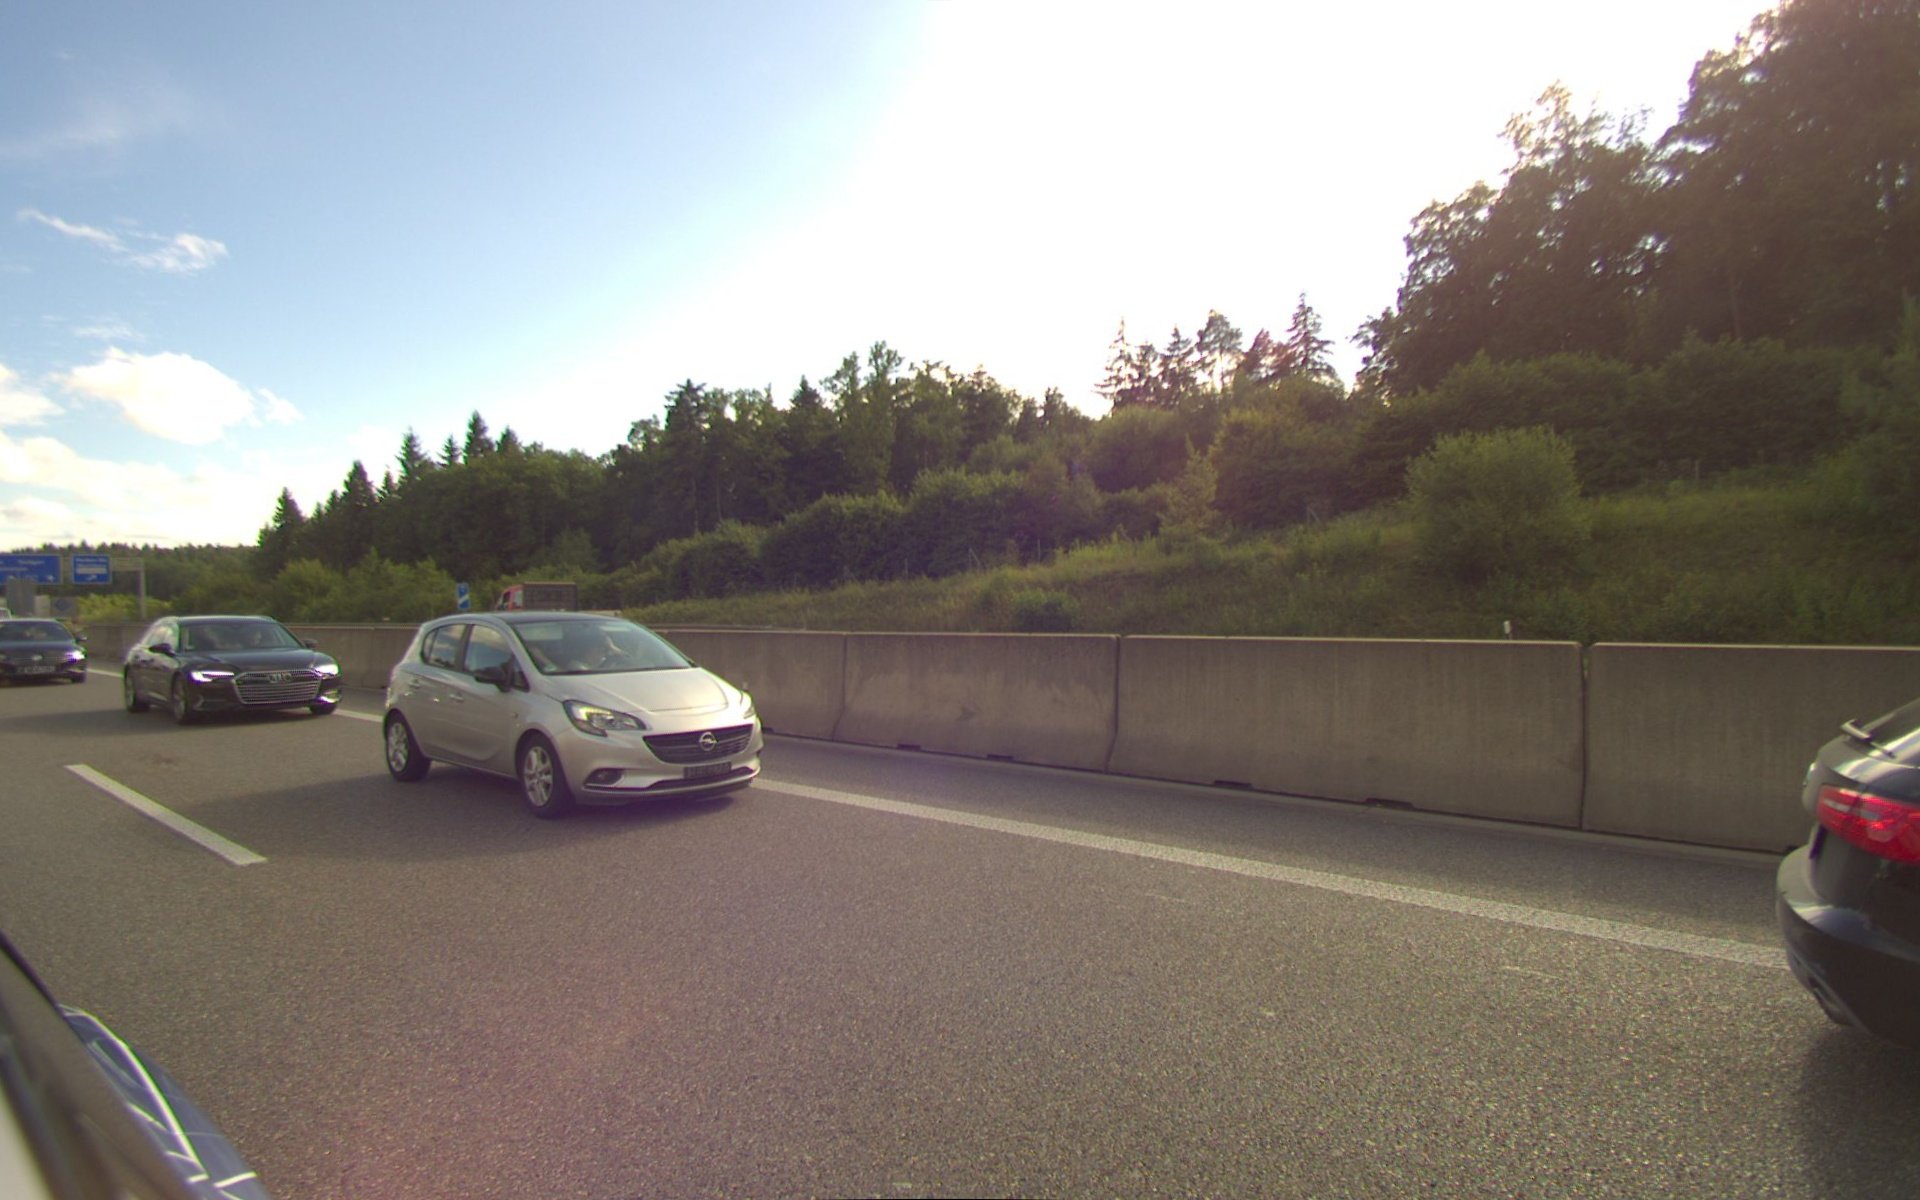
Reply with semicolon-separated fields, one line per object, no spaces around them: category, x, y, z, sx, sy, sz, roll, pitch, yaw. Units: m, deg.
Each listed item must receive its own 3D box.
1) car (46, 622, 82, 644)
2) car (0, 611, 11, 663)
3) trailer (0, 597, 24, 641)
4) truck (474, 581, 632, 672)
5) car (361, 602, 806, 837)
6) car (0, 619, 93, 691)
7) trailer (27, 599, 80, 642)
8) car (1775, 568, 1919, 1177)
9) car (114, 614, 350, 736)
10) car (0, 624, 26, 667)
car;-80.330;2.932;90.742;4.621;1.823;1.833;-1;-1;41
car;-38.845;1.471;39.689;4.846;1.980;1.922;-1;-1;41
trailer;-117.946;2.271;124.018;13.825;5.112;3.057;-1;0;40
truck;-14.172;0.884;35.012;6.426;2.876;2.398;-1;-1;41
car;-3.253;0.798;8.341;4.038;1.477;1.729;-2;-2;41
car;-21.409;1.209;23.182;4.569;1.488;1.890;-1;-1;43
trailer;-109.430;2.381;122.058;14.645;4.866;2.897;-1;0;41
car;4.488;0.614;1.726;4.745;1.467;1.823;-1;-1;41
car;-10.893;0.990;14.987;4.851;1.483;1.862;-1;-1;42
car;-33.913;1.565;35.143;3.992;1.442;1.786;-1;-1;41
